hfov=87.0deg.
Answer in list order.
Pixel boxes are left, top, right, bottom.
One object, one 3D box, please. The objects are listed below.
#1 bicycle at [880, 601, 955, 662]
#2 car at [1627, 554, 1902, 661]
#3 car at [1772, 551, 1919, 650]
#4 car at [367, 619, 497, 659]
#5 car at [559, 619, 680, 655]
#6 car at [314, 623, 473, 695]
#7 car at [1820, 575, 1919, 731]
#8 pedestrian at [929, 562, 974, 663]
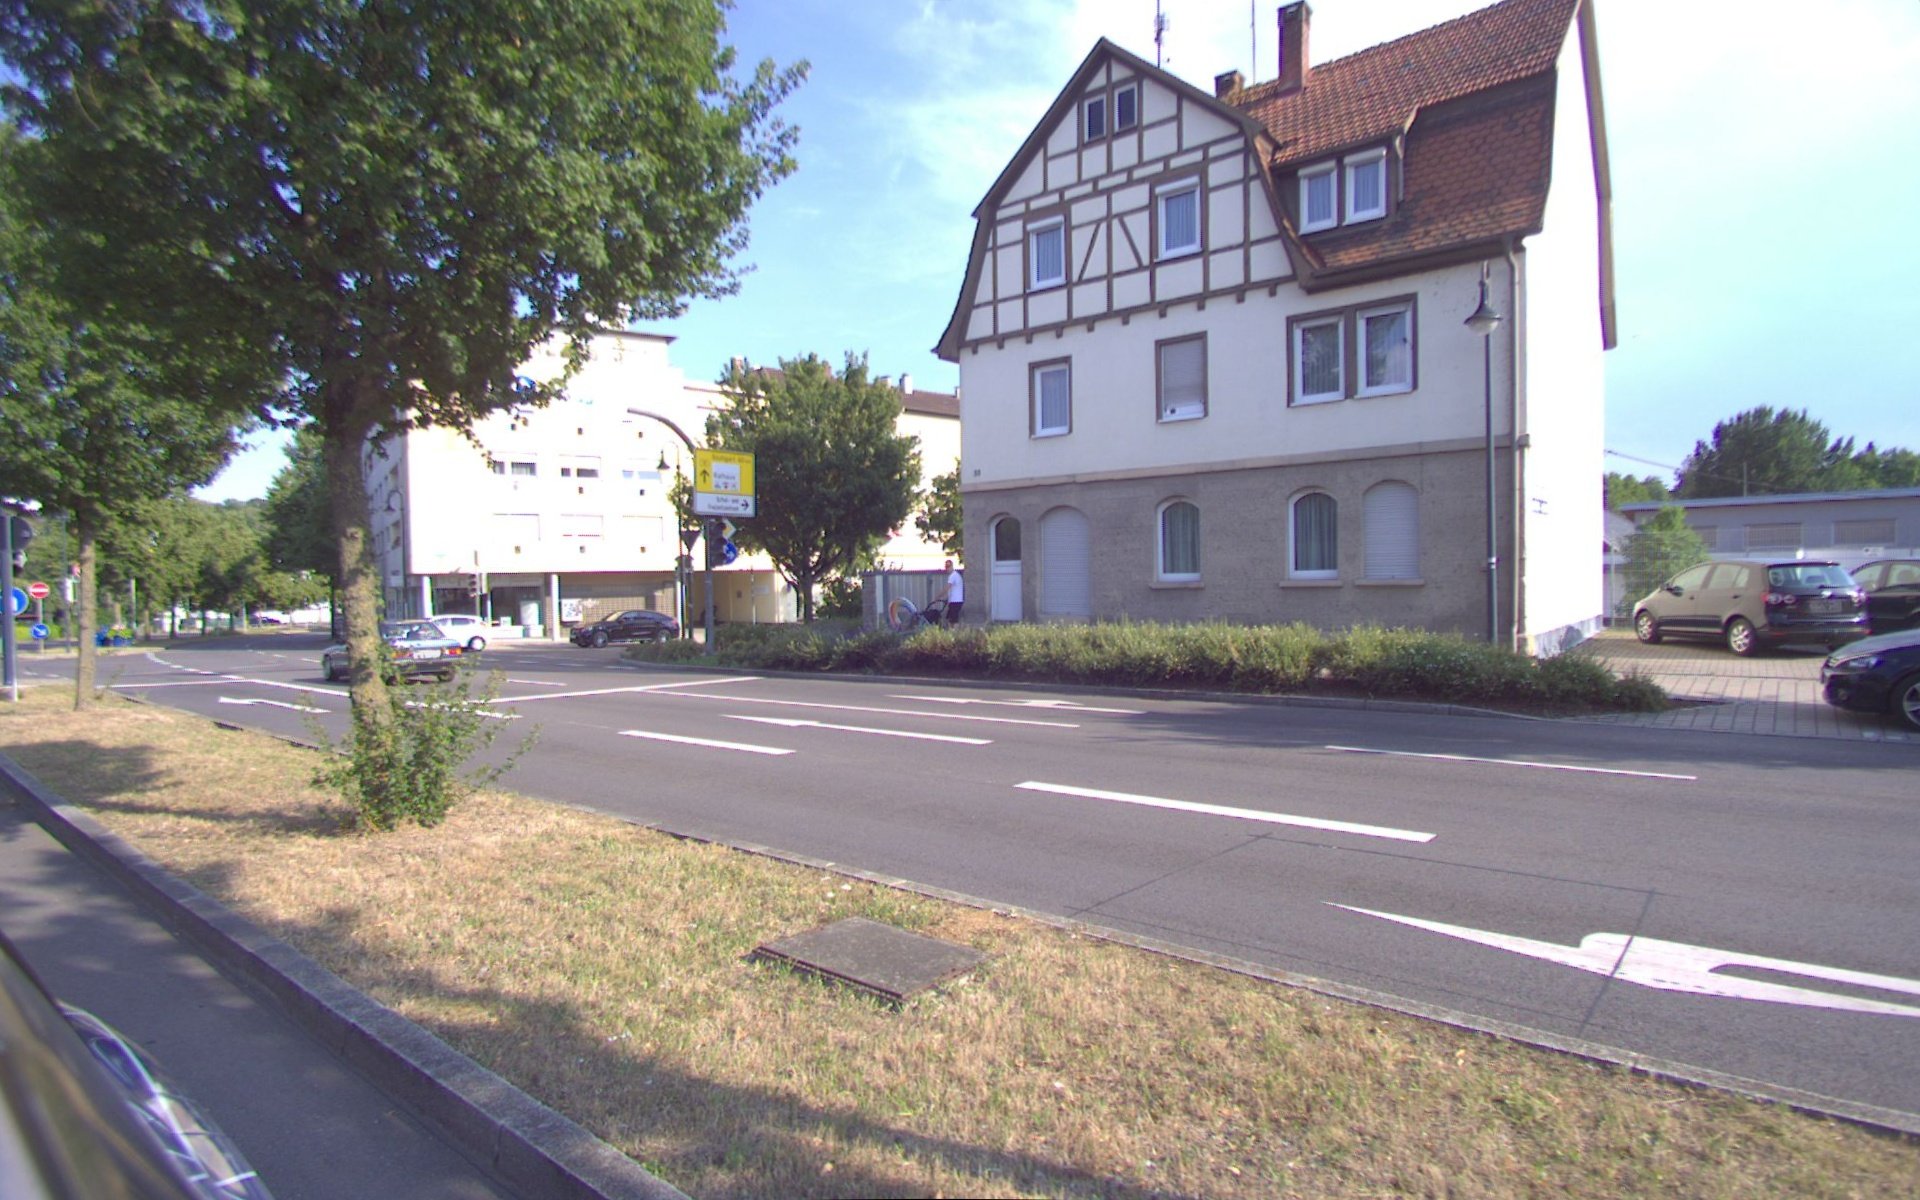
[{"bbox_3d":[-0.904,0.645,21.186,1.513,1.231,0.672,-1,0,42],"label":"bicycle"},{"bbox_3d":[13.449,0.062,17.272,1.746,1.563,3.994,-2,2,6],"label":"car"},{"bbox_3d":[16.030,-0.006,17.024,1.746,1.564,3.993,-1,0,6],"label":"car"},{"bbox_3d":[-20.191,1.444,38.778,4.070,1.364,1.768,-1,0,-45],"label":"car"},{"bbox_3d":[-14.597,1.556,43.525,4.596,1.364,1.769,-1,0,-42],"label":"car"},{"bbox_3d":[-12.355,1.206,21.975,4.160,1.364,1.743,-1,0,42],"label":"car"},{"bbox_3d":[11.129,0.498,9.812,4.191,1.454,1.816,-1,3,40],"label":"car"},{"bbox_3d":[-0.166,0.247,20.592,0.588,1.997,0.690,-1,0,41],"label":"pedestrian"}]
